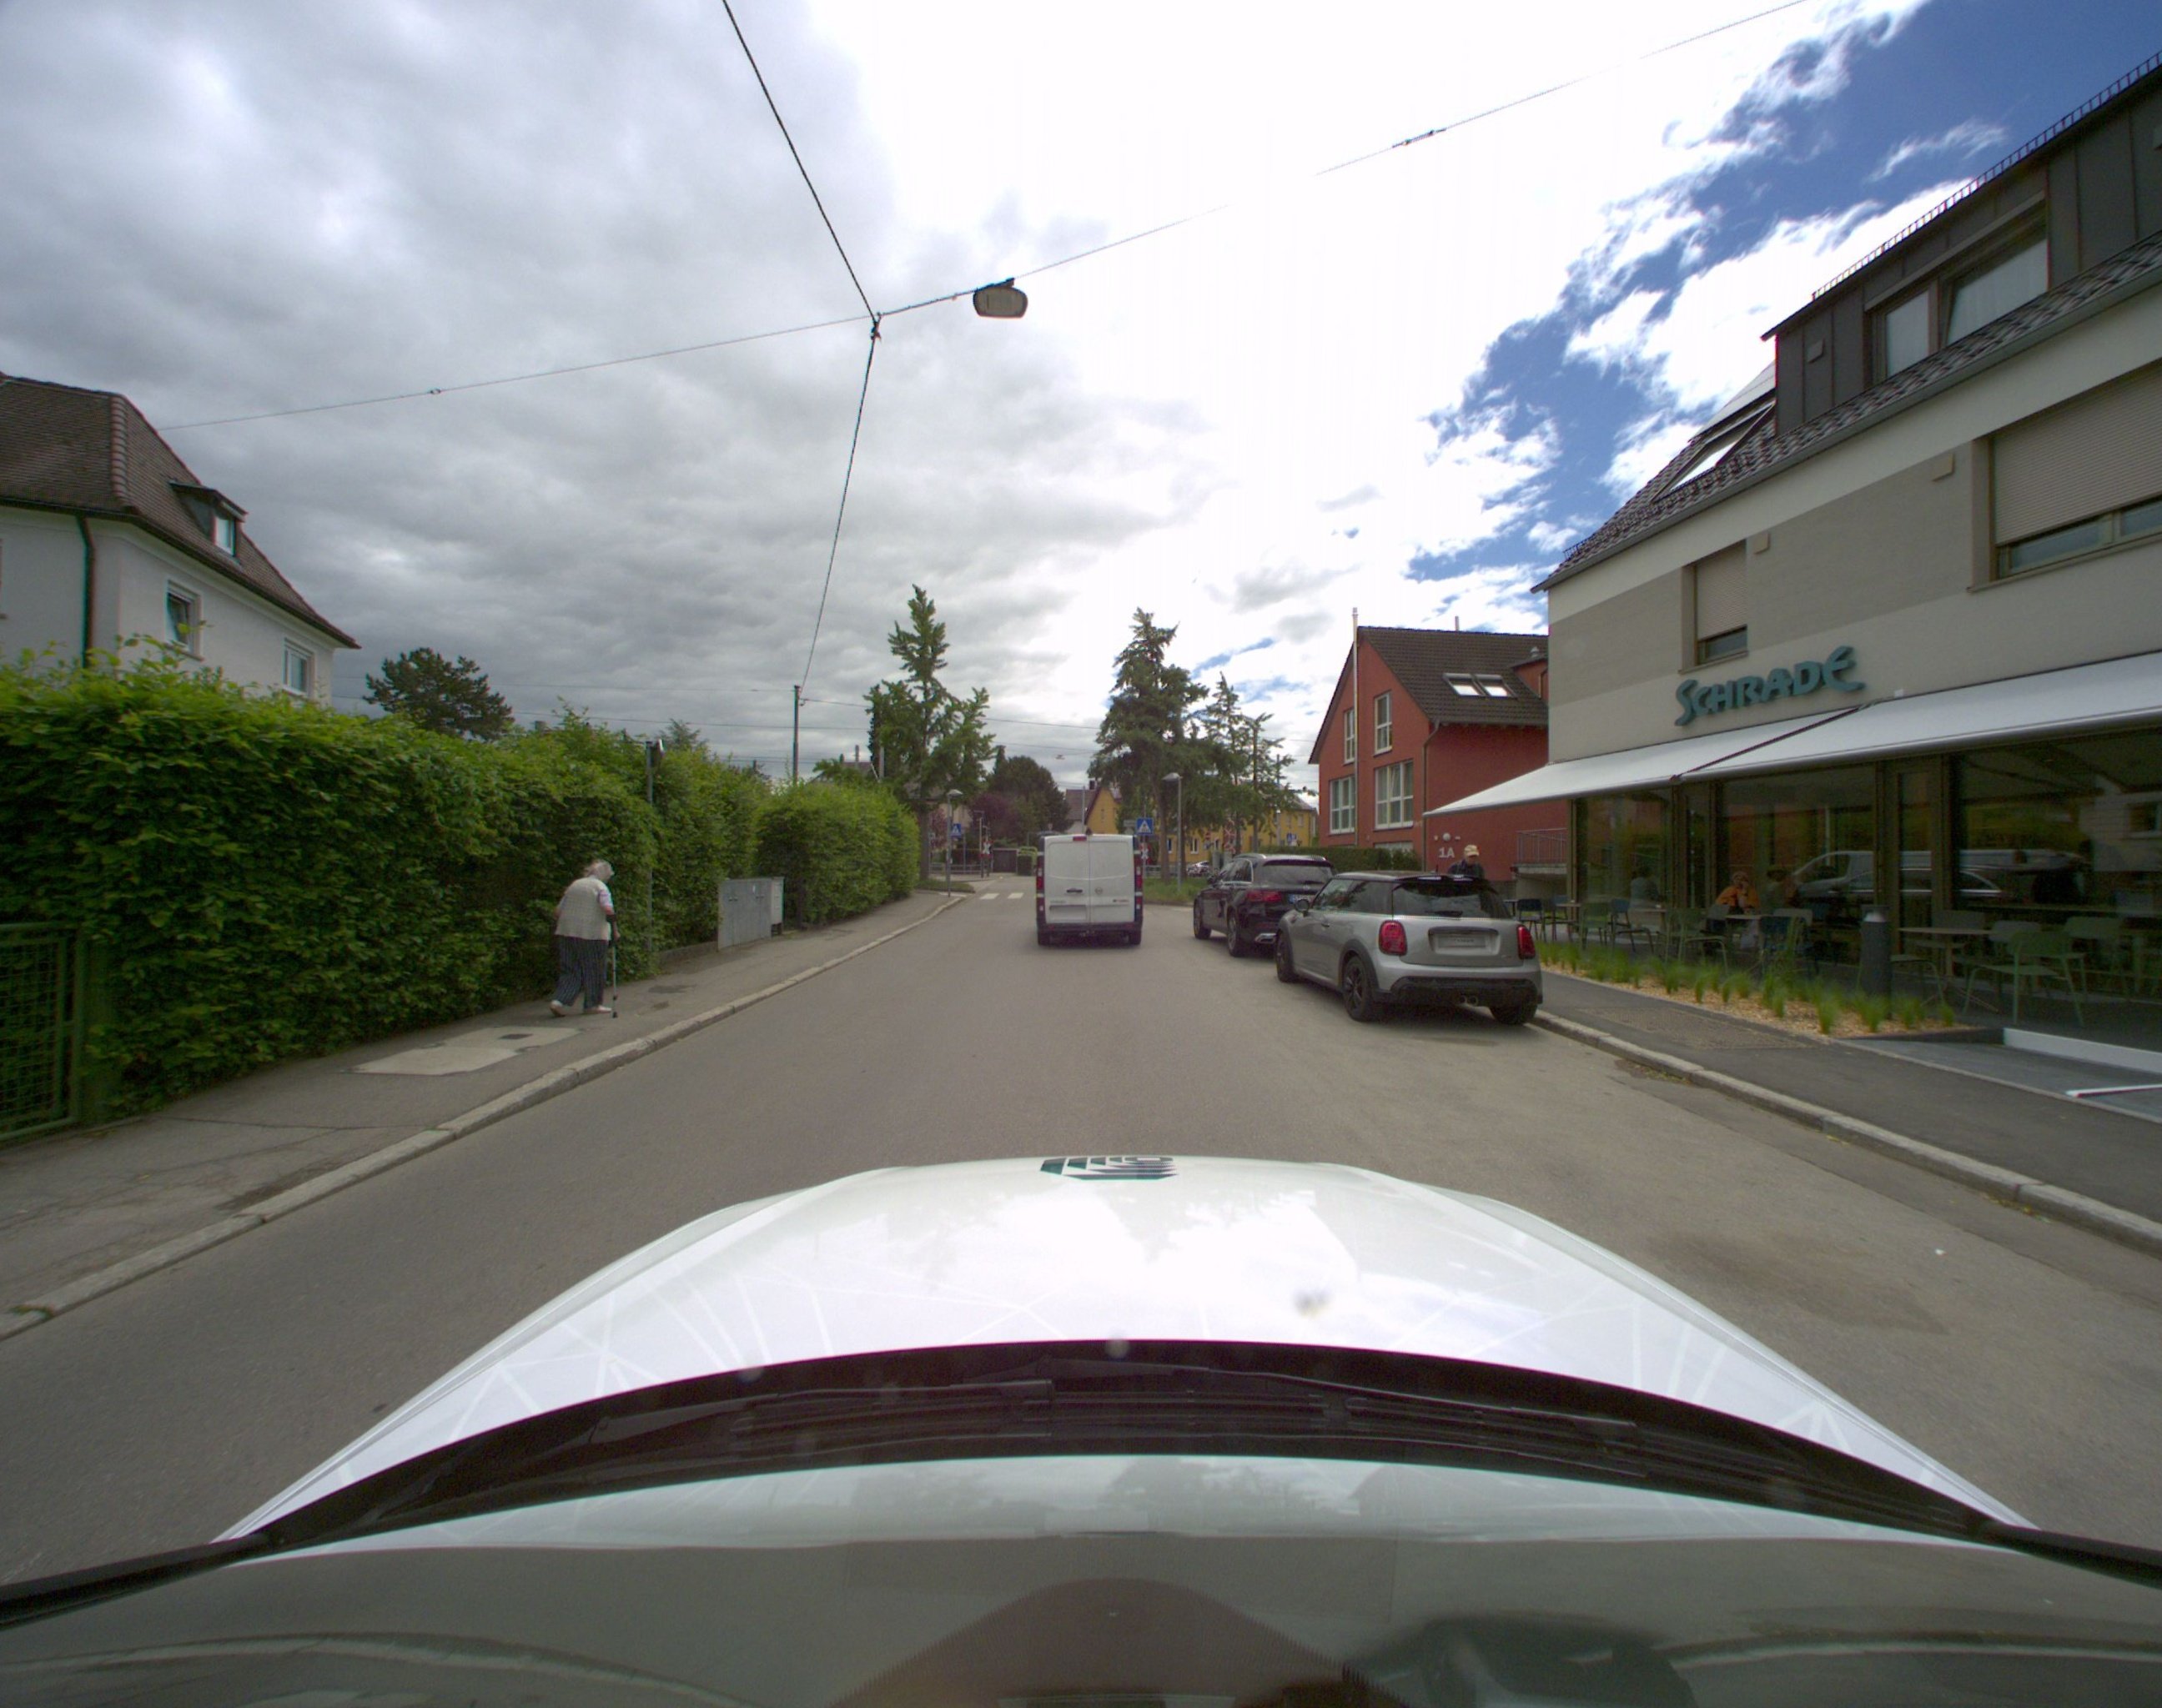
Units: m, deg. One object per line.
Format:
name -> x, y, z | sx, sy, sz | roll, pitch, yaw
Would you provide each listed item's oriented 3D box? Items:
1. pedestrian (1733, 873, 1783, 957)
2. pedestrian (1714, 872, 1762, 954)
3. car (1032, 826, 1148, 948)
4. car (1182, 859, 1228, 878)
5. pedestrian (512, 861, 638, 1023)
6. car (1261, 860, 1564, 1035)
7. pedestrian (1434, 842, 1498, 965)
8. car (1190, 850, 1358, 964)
pedestrian -> 9.595, 0.857, 11.541 | 0.420, 1.166, 0.324 | 0, -1, -2
pedestrian -> 9.578, 0.849, 11.881 | 0.420, 1.182, 0.324 | 0, -1, -2
car -> 0.080, 0.538, 15.742 | 1.911, 2.002, 4.434 | 0, 0, -2
car -> 11.602, 1.345, 76.058 | 3.944, 1.537, 1.901 | 3, -2, -31
pedestrian -> -4.839, 0.824, 7.836 | 0.879, 1.485, 0.452 | 3, -2, -20
car -> 3.359, 0.866, 9.043 | 1.737, 1.495, 3.651 | 2, -1, -2
pedestrian -> 5.229, 0.660, 11.087 | 0.588, 1.607, 0.529 | 2, -2, 2
car -> 3.117, 0.806, 14.073 | 1.698, 1.614, 4.254 | 2, -1, -2
